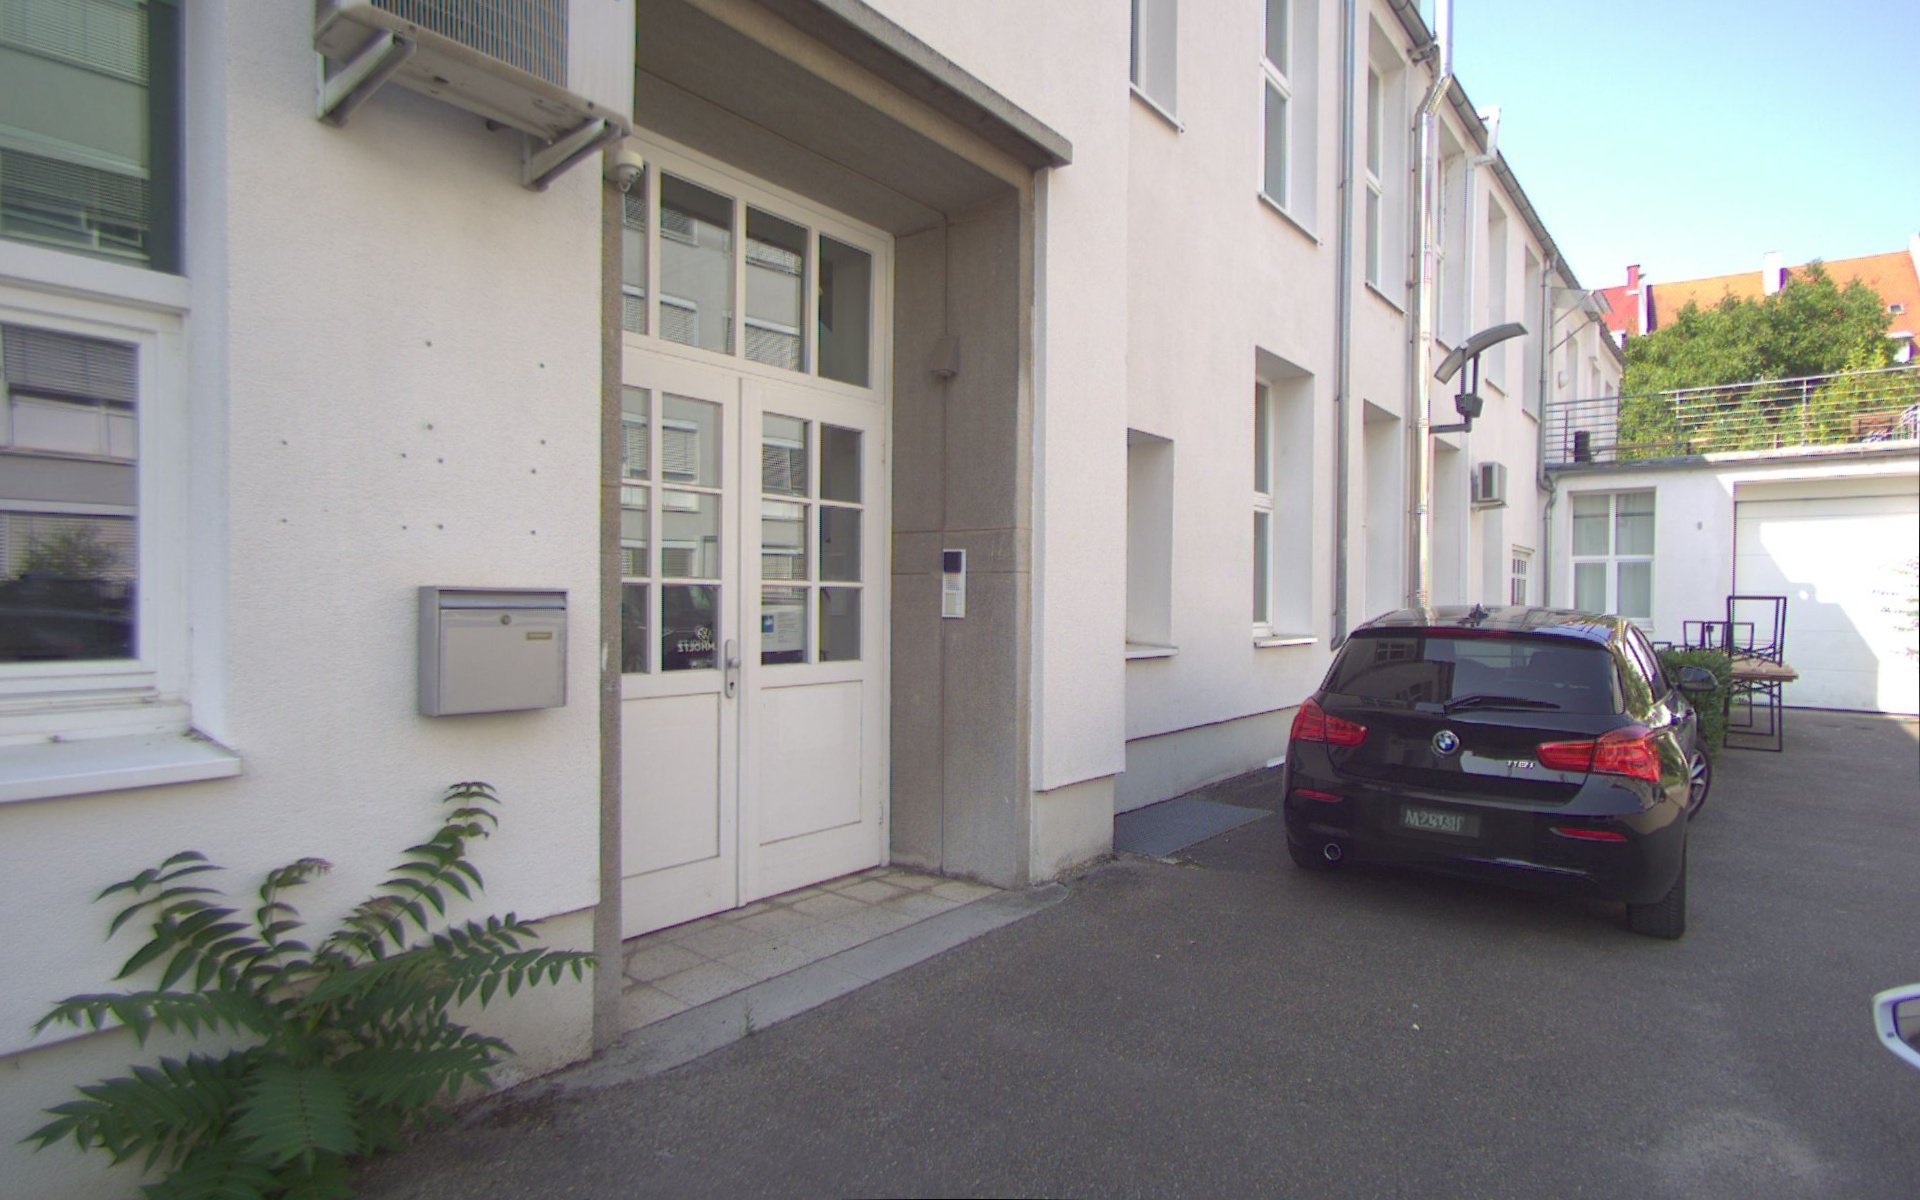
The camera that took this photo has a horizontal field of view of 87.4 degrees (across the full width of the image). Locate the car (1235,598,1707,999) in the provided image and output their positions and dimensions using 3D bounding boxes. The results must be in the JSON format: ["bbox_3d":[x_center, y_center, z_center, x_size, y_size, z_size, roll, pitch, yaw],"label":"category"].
[{"bbox_3d":[3.240,0.732,5.889,1.770,1.447,4.121,1,1,36],"label":"car"}]
